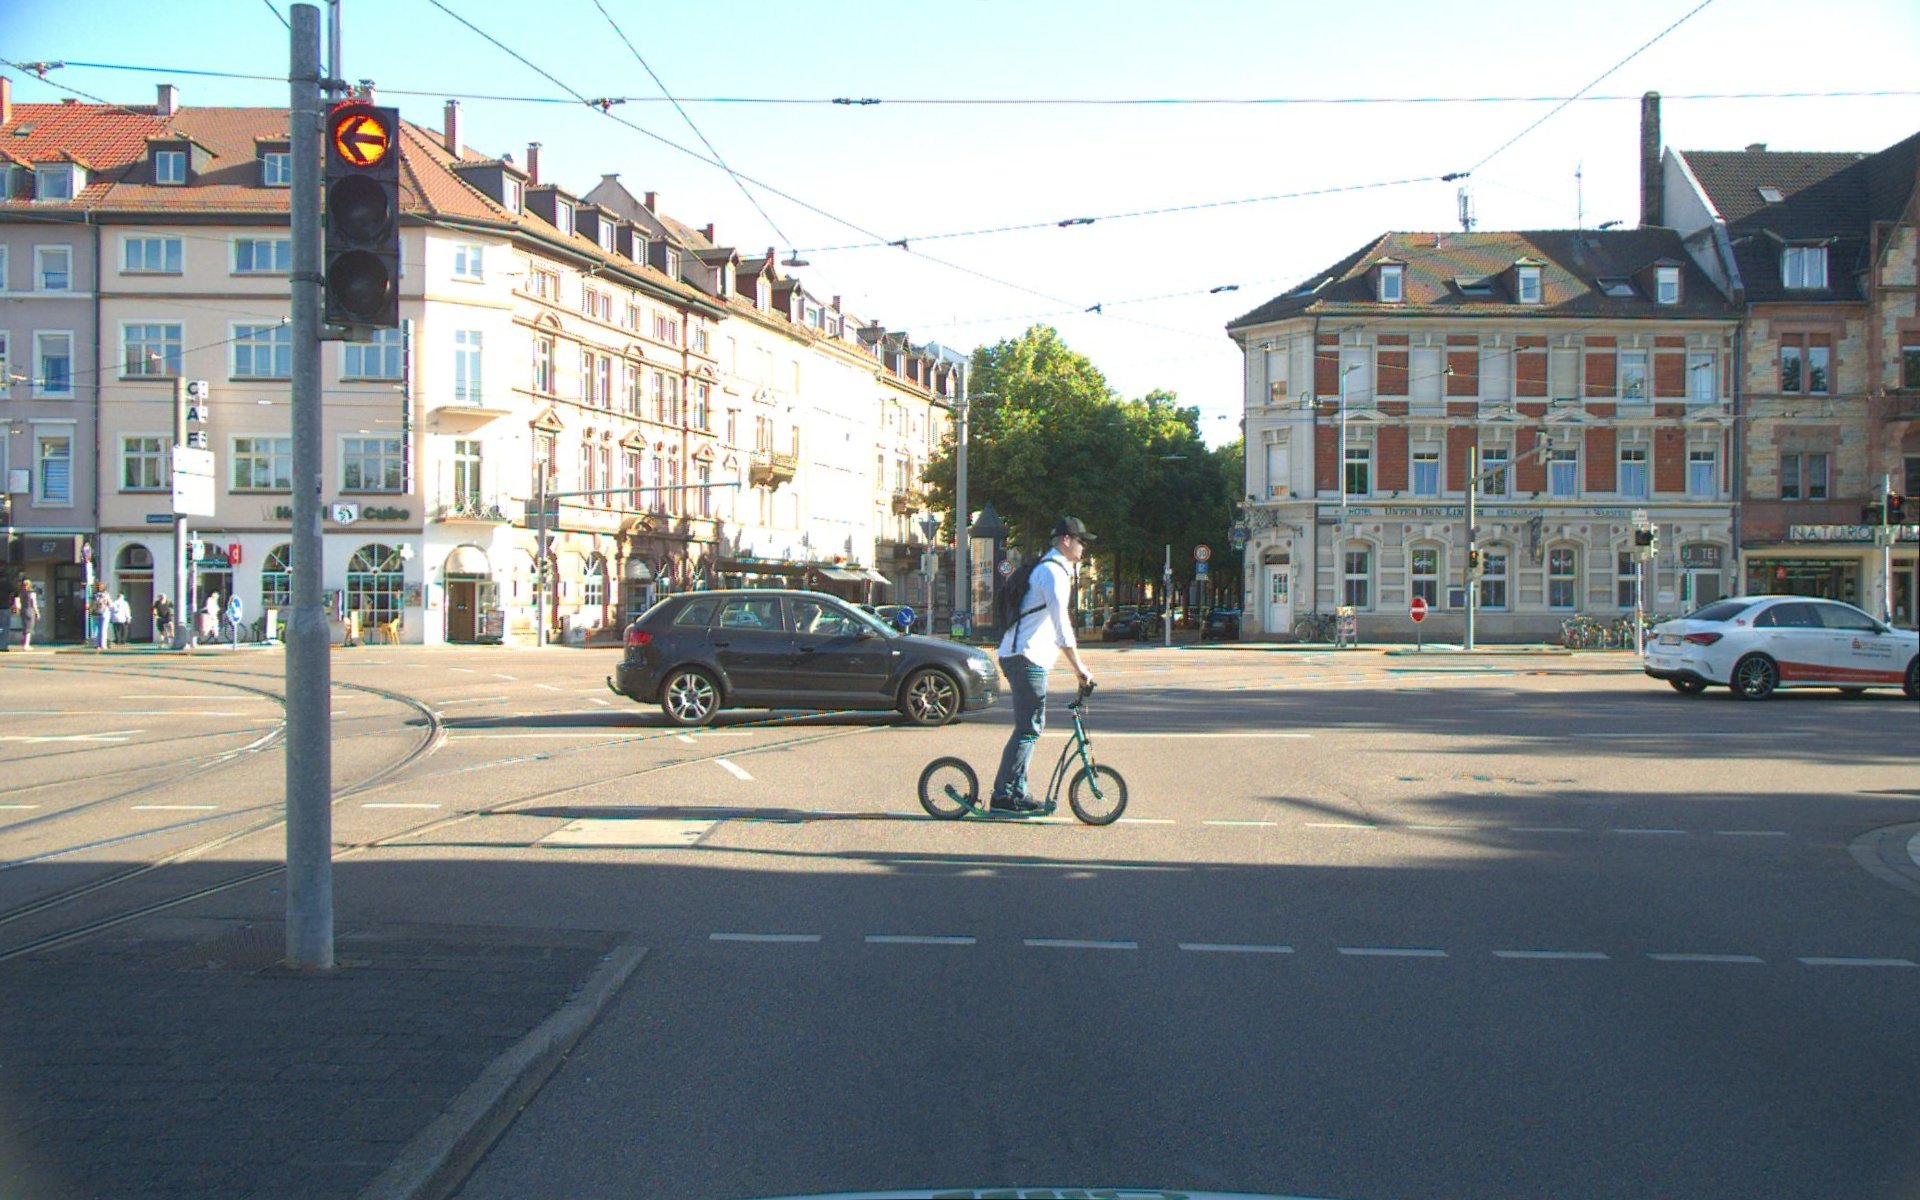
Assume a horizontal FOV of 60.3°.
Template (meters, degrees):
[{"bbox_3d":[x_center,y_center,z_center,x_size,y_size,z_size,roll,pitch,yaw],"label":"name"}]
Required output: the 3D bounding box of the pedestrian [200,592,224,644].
[{"bbox_3d":[-24.691,0.595,54.587,0.731,1.711,0.623,0,0,-26],"label":"pedestrian"}]

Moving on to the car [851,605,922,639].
[{"bbox_3d":[-3.229,0.954,73.570,1.951,1.429,4.172,0,0,15],"label":"car"}]

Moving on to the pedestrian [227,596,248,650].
[{"bbox_3d":[-17.207,0.542,39.395,0.358,1.275,0.449,0,0,-12],"label":"pedestrian"}]

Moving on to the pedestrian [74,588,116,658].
[{"bbox_3d":[-21.566,0.568,41.241,0.725,1.711,0.628,0,0,-1],"label":"pedestrian"}]

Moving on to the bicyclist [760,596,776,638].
[{"bbox_3d":[-7.550,0.653,65.058,0.479,1.629,0.667,0,0,9],"label":"bicyclist"}]

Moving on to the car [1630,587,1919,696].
[{"bbox_3d":[12.356,0.578,24.081,4.583,1.499,1.738,0,0,-8],"label":"car"}]

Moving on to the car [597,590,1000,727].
[{"bbox_3d":[-1.753,0.602,18.088,4.190,1.405,1.643,0,0,-8],"label":"car"}]

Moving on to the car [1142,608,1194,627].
[{"bbox_3d":[14.042,1.155,111.653,3.360,1.261,1.578,0,0,10],"label":"car"}]

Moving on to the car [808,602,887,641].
[{"bbox_3d":[-4.534,0.848,67.378,1.951,1.542,4.172,0,0,15],"label":"car"}]

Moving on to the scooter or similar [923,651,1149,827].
[{"bbox_3d":[0.467,0.868,10.515,1.402,1.062,0.565,0,0,-2],"label":"scooter or similar"}]

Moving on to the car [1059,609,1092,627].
[{"bbox_3d":[9.568,1.484,136.717,1.951,1.429,4.172,0,0,15],"label":"car"}]

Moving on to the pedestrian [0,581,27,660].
[{"bbox_3d":[-22.937,0.489,39.645,0.751,1.861,0.722,0,0,-1],"label":"pedestrian"}]

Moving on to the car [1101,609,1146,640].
[{"bbox_3d":[7.541,1.109,76.139,1.680,1.323,4.077,0,0,11],"label":"car"}]

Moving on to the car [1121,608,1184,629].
[{"bbox_3d":[12.313,1.145,105.553,3.902,1.311,1.696,0,0,10],"label":"car"}]

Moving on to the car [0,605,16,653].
[{"bbox_3d":[-32.136,0.896,52.146,3.651,1.517,1.818,1,0,2],"label":"car"}]

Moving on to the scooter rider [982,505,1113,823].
[{"bbox_3d":[0.543,0.390,10.532,0.779,1.945,0.797,0,0,-1],"label":"scooter rider"}]

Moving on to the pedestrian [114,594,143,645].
[{"bbox_3d":[-28.096,0.662,55.894,0.727,1.711,0.626,0,0,-12],"label":"pedestrian"}]

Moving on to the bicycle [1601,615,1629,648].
[{"bbox_3d":[21.160,1.007,53.475,0.476,1.038,1.785,0,0,9],"label":"bicycle"}]

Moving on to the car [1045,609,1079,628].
[{"bbox_3d":[8.139,1.437,131.499,1.951,1.429,4.172,0,0,15],"label":"car"}]

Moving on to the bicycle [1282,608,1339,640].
[{"bbox_3d":[12.173,0.832,57.505,1.911,1.072,0.716,0,0,9],"label":"bicycle"}]

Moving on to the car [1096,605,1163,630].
[{"bbox_3d":[10.246,1.042,99.815,3.902,1.480,1.683,0,0,10],"label":"car"}]

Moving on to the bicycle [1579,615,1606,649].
[{"bbox_3d":[20.470,1.028,53.567,0.476,1.038,1.785,0,0,9],"label":"bicycle"}]

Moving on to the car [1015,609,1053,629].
[{"bbox_3d":[5.472,1.381,122.631,1.951,1.429,4.172,0,0,15],"label":"car"}]

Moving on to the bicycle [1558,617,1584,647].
[{"bbox_3d":[19.801,1.021,53.644,0.476,0.930,1.785,0,0,9],"label":"bicycle"}]

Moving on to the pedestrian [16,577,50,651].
[{"bbox_3d":[-22.913,0.335,40.905,0.549,1.817,0.559,0,0,-6],"label":"pedestrian"}]

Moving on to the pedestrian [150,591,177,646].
[{"bbox_3d":[-24.955,0.580,51.825,0.731,1.711,0.623,0,0,-26],"label":"pedestrian"}]

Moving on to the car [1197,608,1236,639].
[{"bbox_3d":[12.850,1.146,82.697,1.717,1.445,4.003,0,0,12],"label":"car"}]
